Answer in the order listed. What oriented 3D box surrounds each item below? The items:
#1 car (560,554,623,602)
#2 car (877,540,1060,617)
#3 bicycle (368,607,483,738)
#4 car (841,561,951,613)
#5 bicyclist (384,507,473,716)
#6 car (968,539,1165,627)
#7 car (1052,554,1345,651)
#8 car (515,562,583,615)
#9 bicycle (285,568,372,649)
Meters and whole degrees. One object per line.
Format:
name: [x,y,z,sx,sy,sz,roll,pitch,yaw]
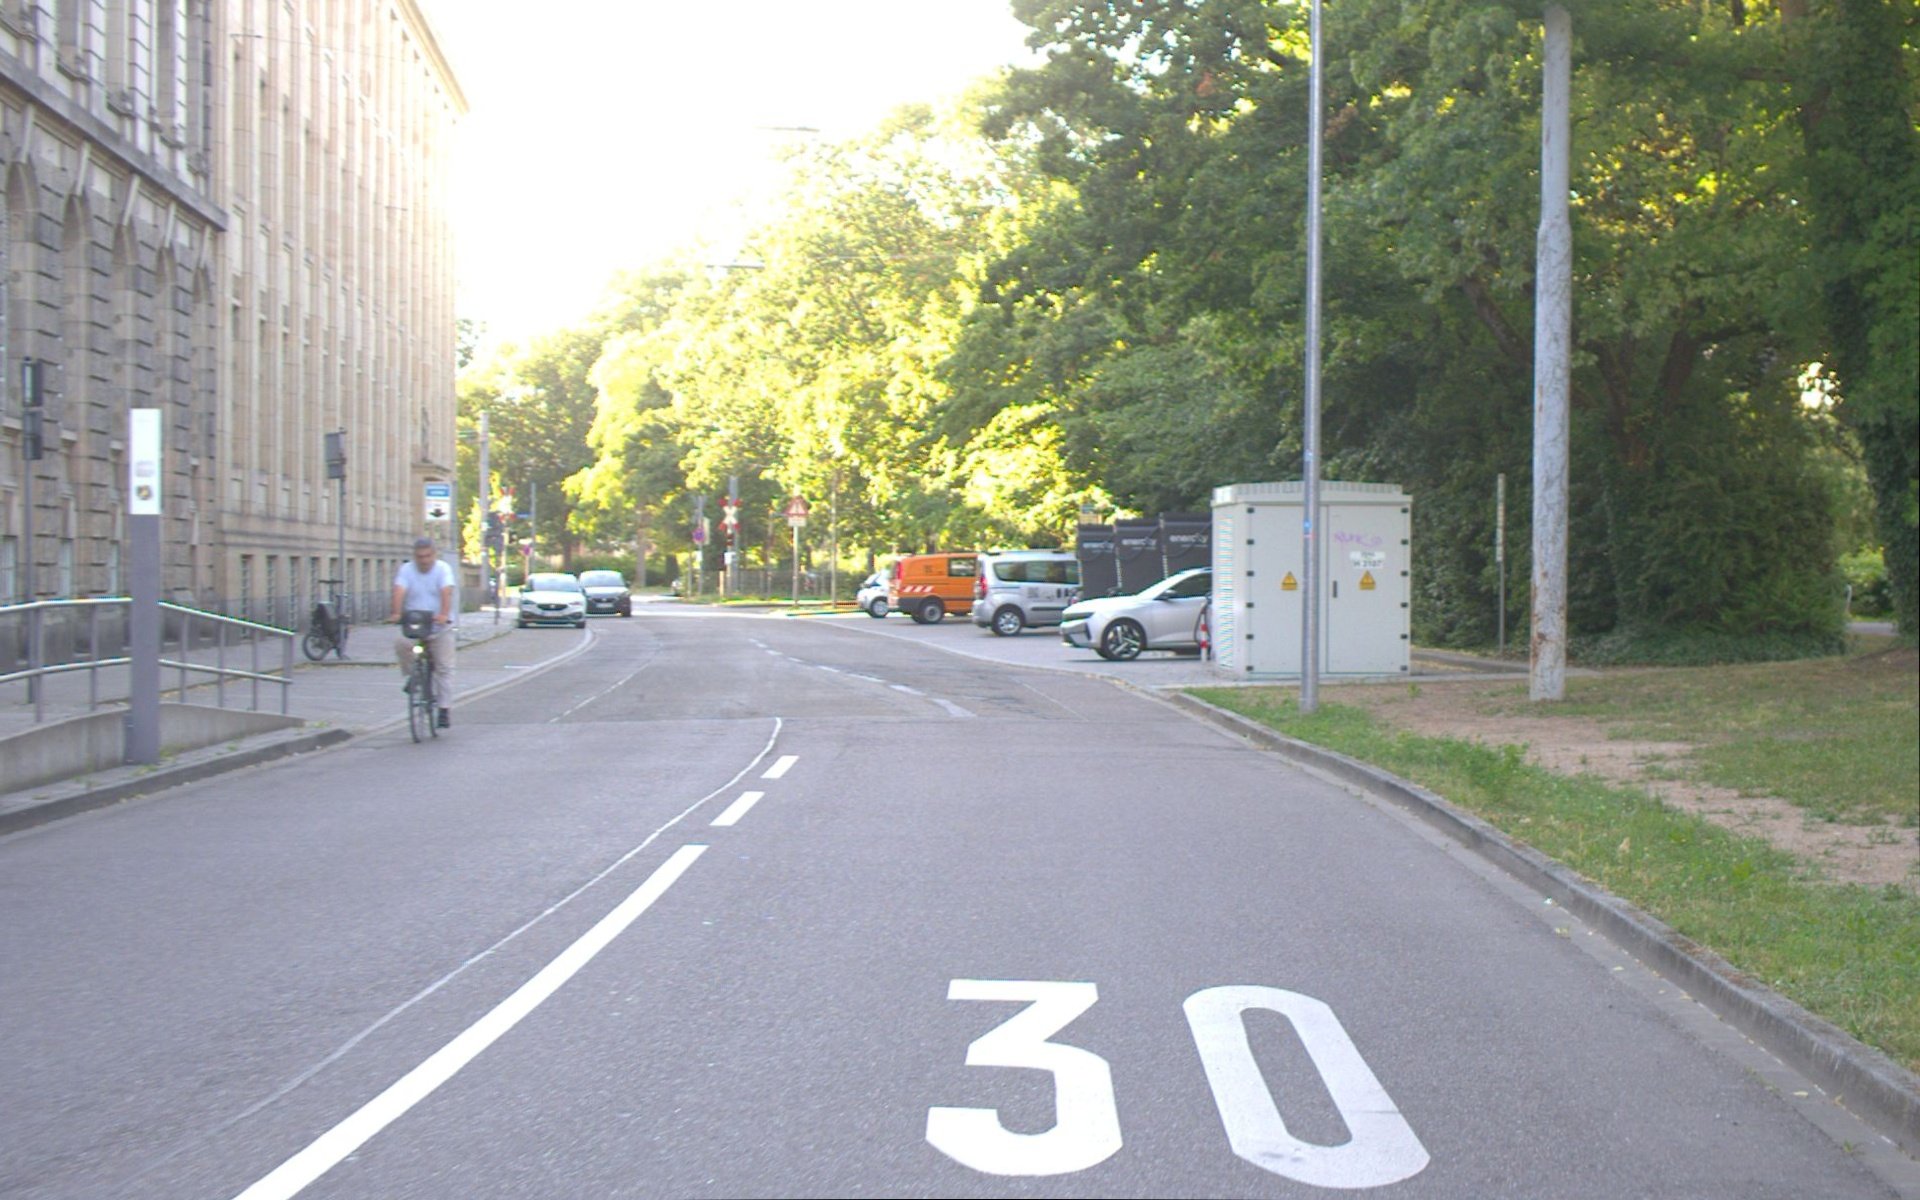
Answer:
car: [-11.757,-0.714,109.540,1.878,1.461,4.374,0,1,-7]
car: [0.236,-0.613,96.429,4.817,2.007,1.802,-2,1,-11]
bicycle: [-4.628,0.611,29.875,0.662,1.066,2.153,0,1,0]
car: [-2.000,-0.401,106.323,3.143,1.498,1.541,-2,1,-11]
bicyclist: [-4.627,0.095,29.959,0.645,1.801,0.780,0,0,0]
car: [2.371,-0.375,77.201,4.228,1.853,2.000,-1,0,-3]
car: [3.793,0.032,55.155,4.440,1.464,1.783,-1,1,-5]
car: [-11.051,-0.325,92.277,1.727,1.392,4.374,0,0,-7]
bicycle: [-8.971,0.113,48.939,0.852,1.098,1.982,2,0,-1]
